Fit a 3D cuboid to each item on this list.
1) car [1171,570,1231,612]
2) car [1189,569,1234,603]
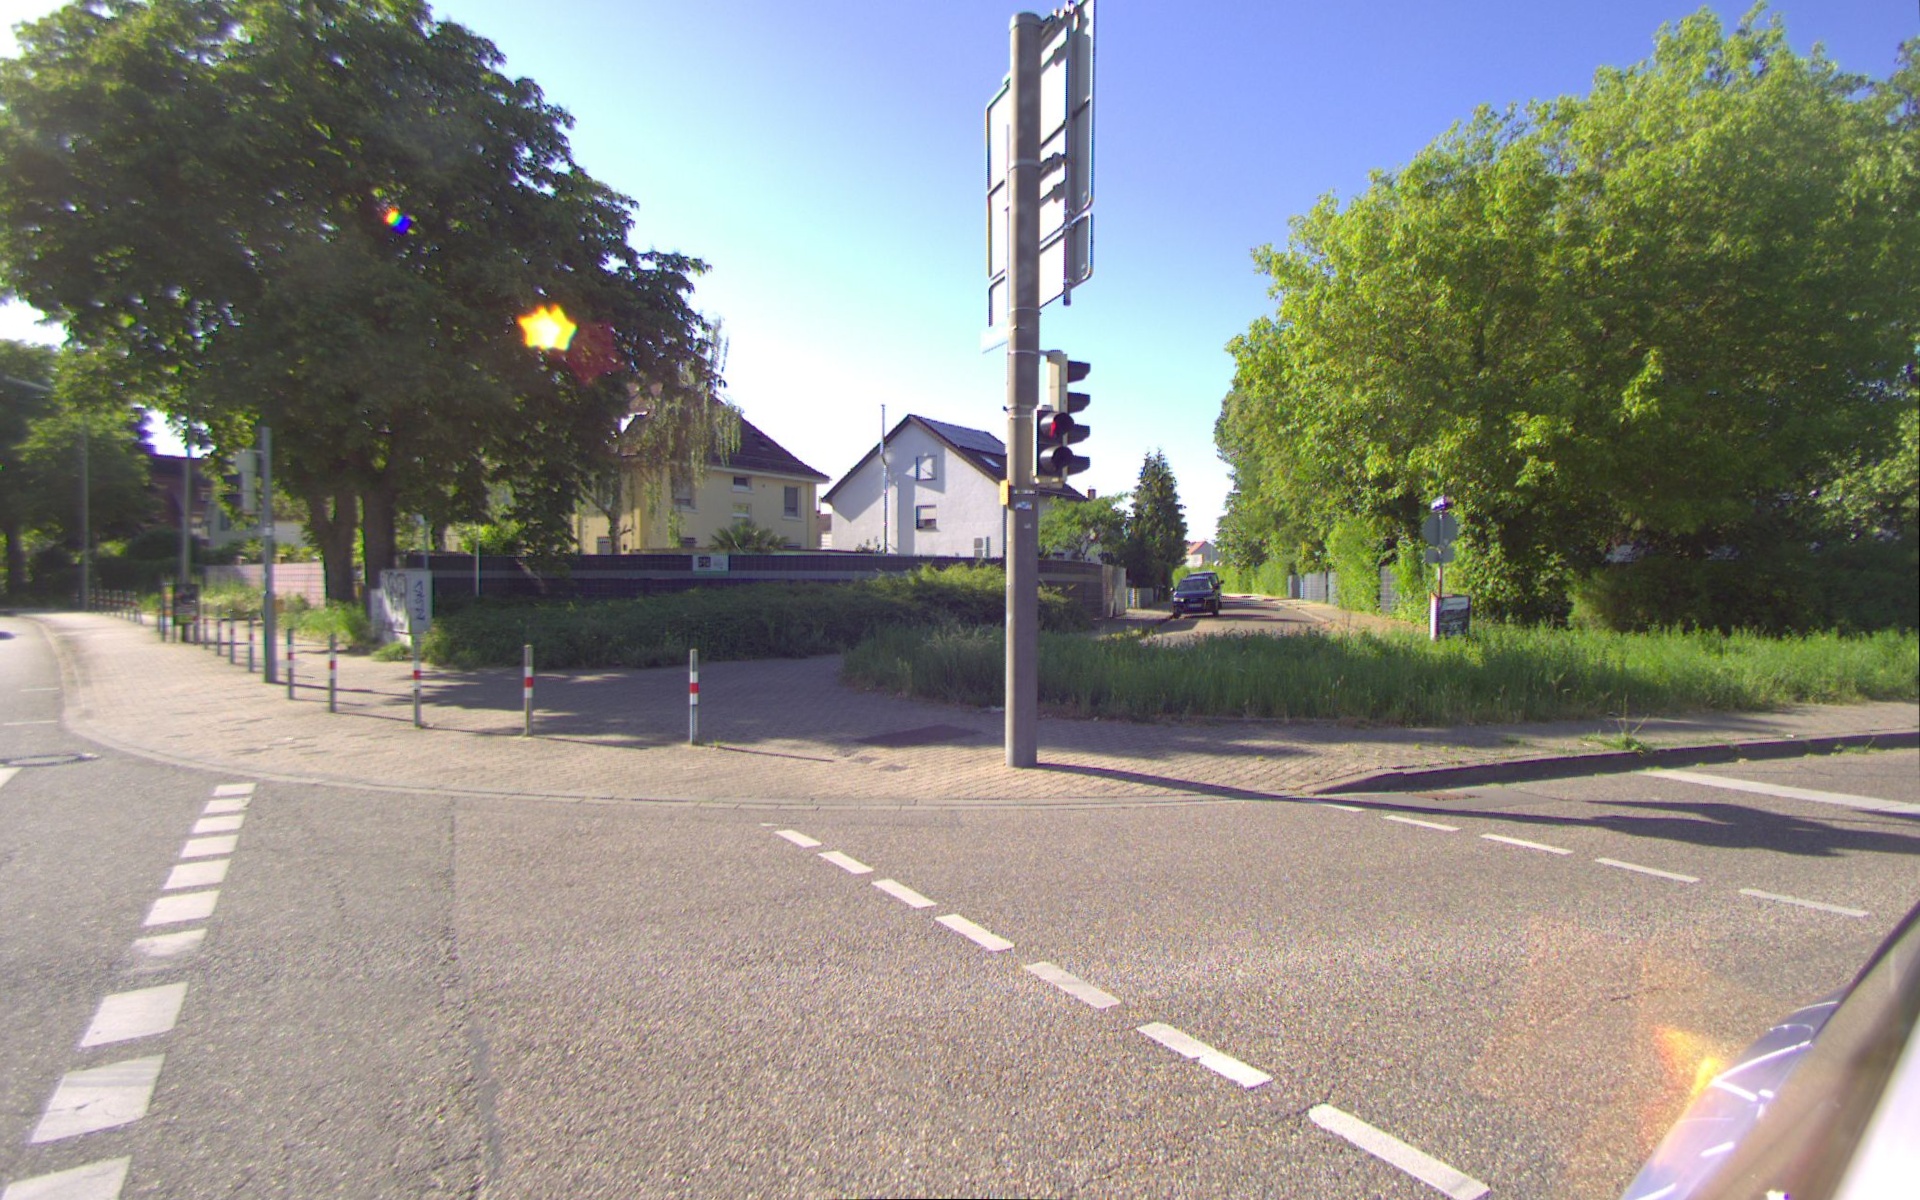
[{"bbox_3d":[9.790,-0.382,40.889,1.974,1.576,3.975,-1,1,19],"label":"car"},{"bbox_3d":[13.153,-0.716,52.883,1.938,1.687,3.975,0,1,19],"label":"car"}]
